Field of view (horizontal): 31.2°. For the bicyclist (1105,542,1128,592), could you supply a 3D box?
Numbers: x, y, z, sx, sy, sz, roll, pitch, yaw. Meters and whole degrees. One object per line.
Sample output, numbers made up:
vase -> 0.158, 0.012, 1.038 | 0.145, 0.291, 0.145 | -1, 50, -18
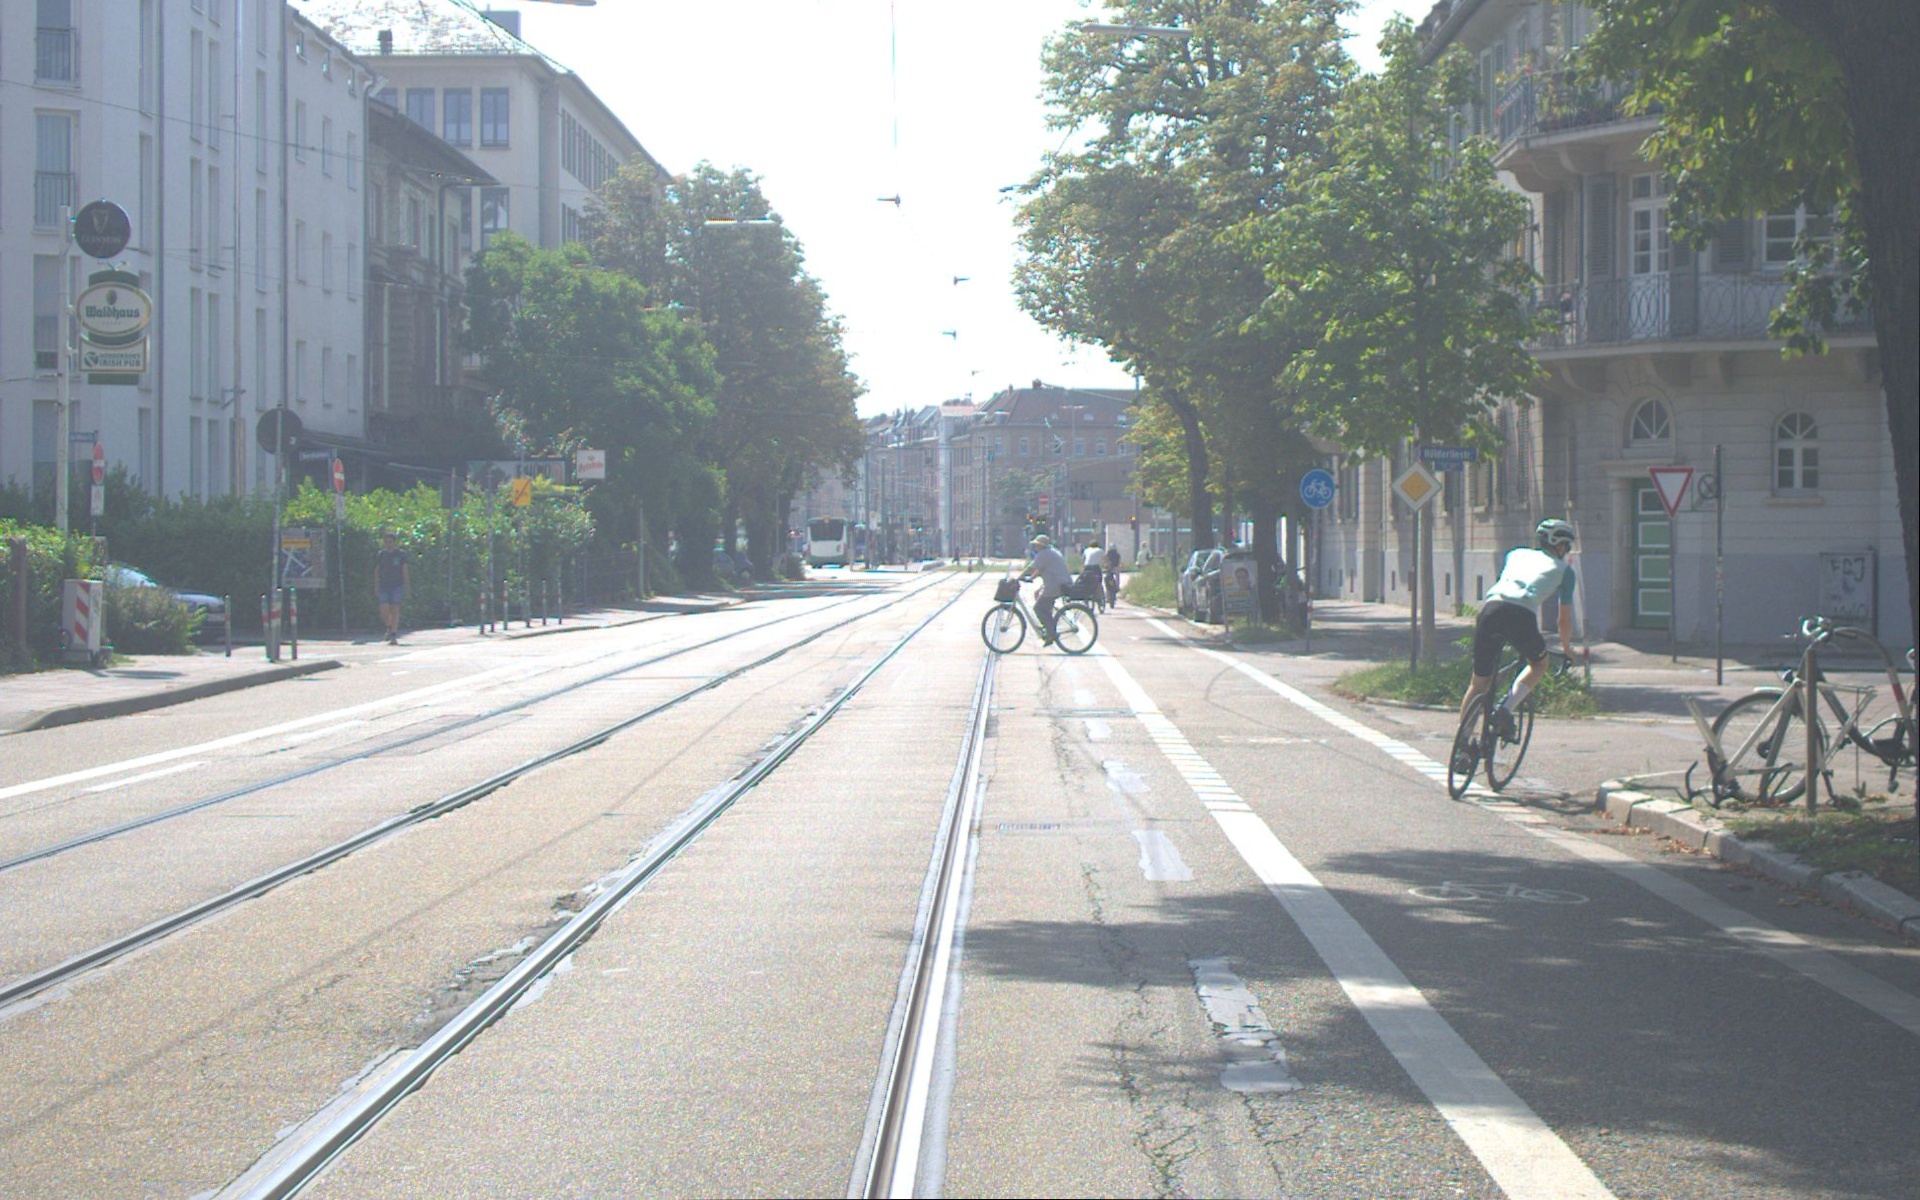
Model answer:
bicyclist -> 3.990, -0.835, 87.479 | 0.579, 1.274, 0.471 | 0, 0, 3

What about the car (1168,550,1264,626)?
car -> 5.015, -0.231, 67.757 | 1.583, 1.459, 3.415 | 0, 0, -1

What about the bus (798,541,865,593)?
bus -> -8.449, -2.155, 227.394 | 3.735, 3.352, 15.119 | 0, 0, 0

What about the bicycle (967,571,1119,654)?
bicycle -> 1.180, 0.169, 48.917 | 2.038, 1.147, 0.784 | 1, 1, 28

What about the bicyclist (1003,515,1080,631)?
bicyclist -> 1.161, -0.388, 48.915 | 0.825, 1.637, 0.784 | 0, 1, 28

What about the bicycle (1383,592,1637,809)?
bicycle -> 3.584, 0.603, 22.161 | 1.149, 1.265, 2.709 | 0, 1, 19

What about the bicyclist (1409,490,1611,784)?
bicyclist -> 3.539, 0.224, 22.061 | 1.126, 1.830, 0.955 | 0, 0, 20

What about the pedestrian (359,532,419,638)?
pedestrian -> -9.494, -0.249, 57.232 | 0.779, 1.750, 1.040 | -1, 0, 1

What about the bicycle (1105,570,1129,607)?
bicycle -> 3.993, -0.303, 87.559 | 0.588, 0.936, 2.171 | 0, 0, 3

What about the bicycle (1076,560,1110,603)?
bicycle -> 3.089, -0.426, 79.761 | 0.759, 0.987, 2.298 | 0, 0, 3

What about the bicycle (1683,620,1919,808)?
bicycle -> 4.957, 0.632, 19.241 | 1.713, 1.028, 0.566 | 0, 0, 2

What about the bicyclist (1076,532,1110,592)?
bicyclist -> 3.090, -0.888, 79.789 | 0.759, 1.387, 0.779 | 0, 0, 3

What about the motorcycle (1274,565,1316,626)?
motorcycle -> 5.949, -0.086, 61.134 | 0.549, 1.064, 2.330 | 0, 0, 1

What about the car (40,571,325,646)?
car -> -12.954, 0.142, 57.324 | 4.234, 1.180, 1.998 | -1, 0, 21

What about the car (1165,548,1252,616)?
car -> 5.427, -0.387, 75.397 | 1.583, 1.459, 3.467 | 0, 0, -1
